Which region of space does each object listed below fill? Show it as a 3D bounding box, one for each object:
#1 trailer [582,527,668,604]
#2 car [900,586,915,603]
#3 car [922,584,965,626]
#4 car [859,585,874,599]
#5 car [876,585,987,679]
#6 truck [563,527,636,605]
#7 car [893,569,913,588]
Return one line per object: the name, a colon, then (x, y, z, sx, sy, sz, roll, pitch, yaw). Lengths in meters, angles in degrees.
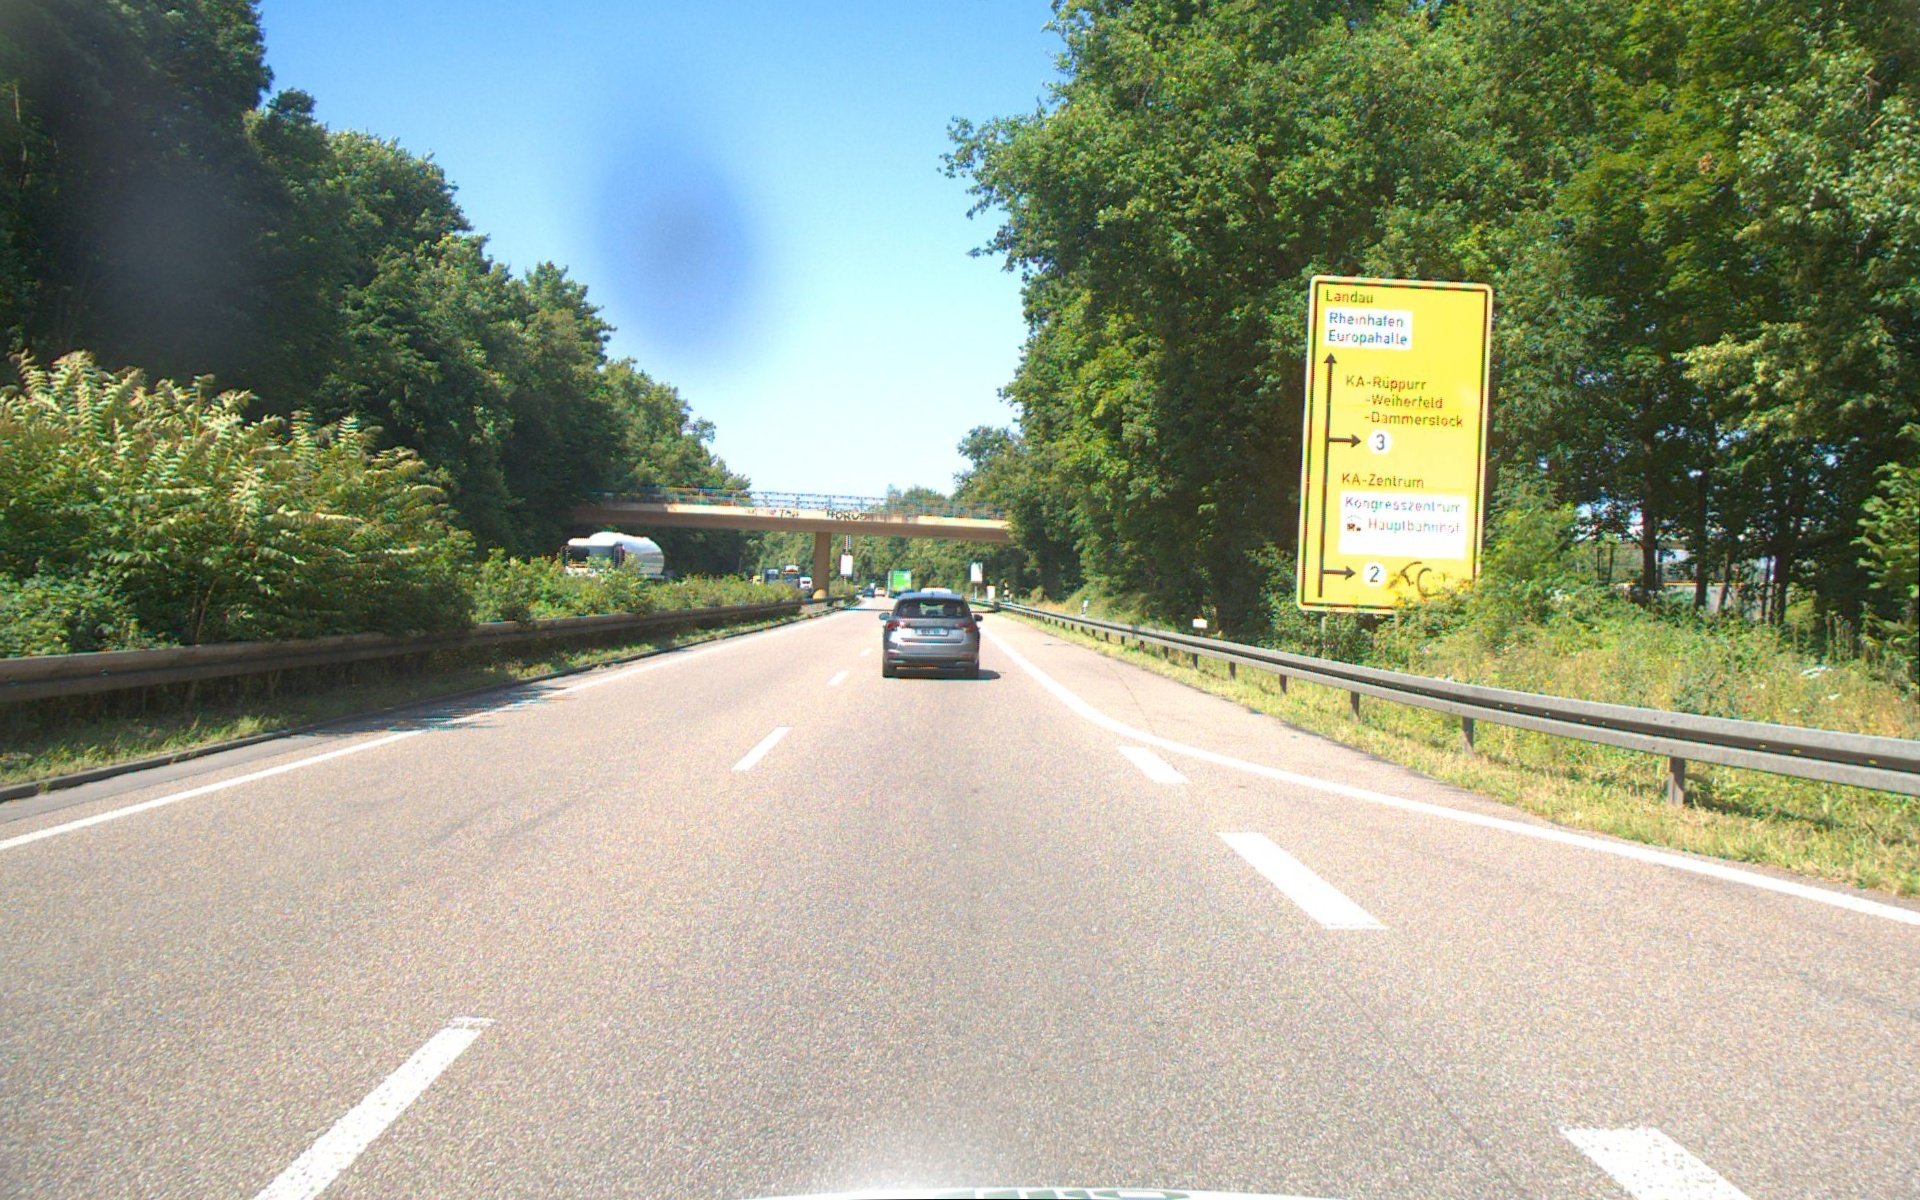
trailer: (-16.368, -1.612, 81.541, 1.953, 3.461, 11.417, 1, 0, -1)
car: (-6.600, -0.677, 208.120, 1.727, 2.049, 3.587, 1, 0, -1)
car: (-0.600, 0.156, 61.537, 1.491, 1.472, 3.340, 1, 1, 1)
car: (-13.640, -1.166, 242.104, 1.953, 2.049, 3.999, 1, 0, -1)
car: (-0.450, 0.518, 29.280, 1.802, 1.497, 3.624, 1, 1, 1)
truck: (-16.259, -1.501, 74.868, 2.291, 3.400, 4.541, 1, 0, -1)
car: (-8.216, -3.046, 238.055, 2.693, 2.700, 3.999, 1, 0, -1)
